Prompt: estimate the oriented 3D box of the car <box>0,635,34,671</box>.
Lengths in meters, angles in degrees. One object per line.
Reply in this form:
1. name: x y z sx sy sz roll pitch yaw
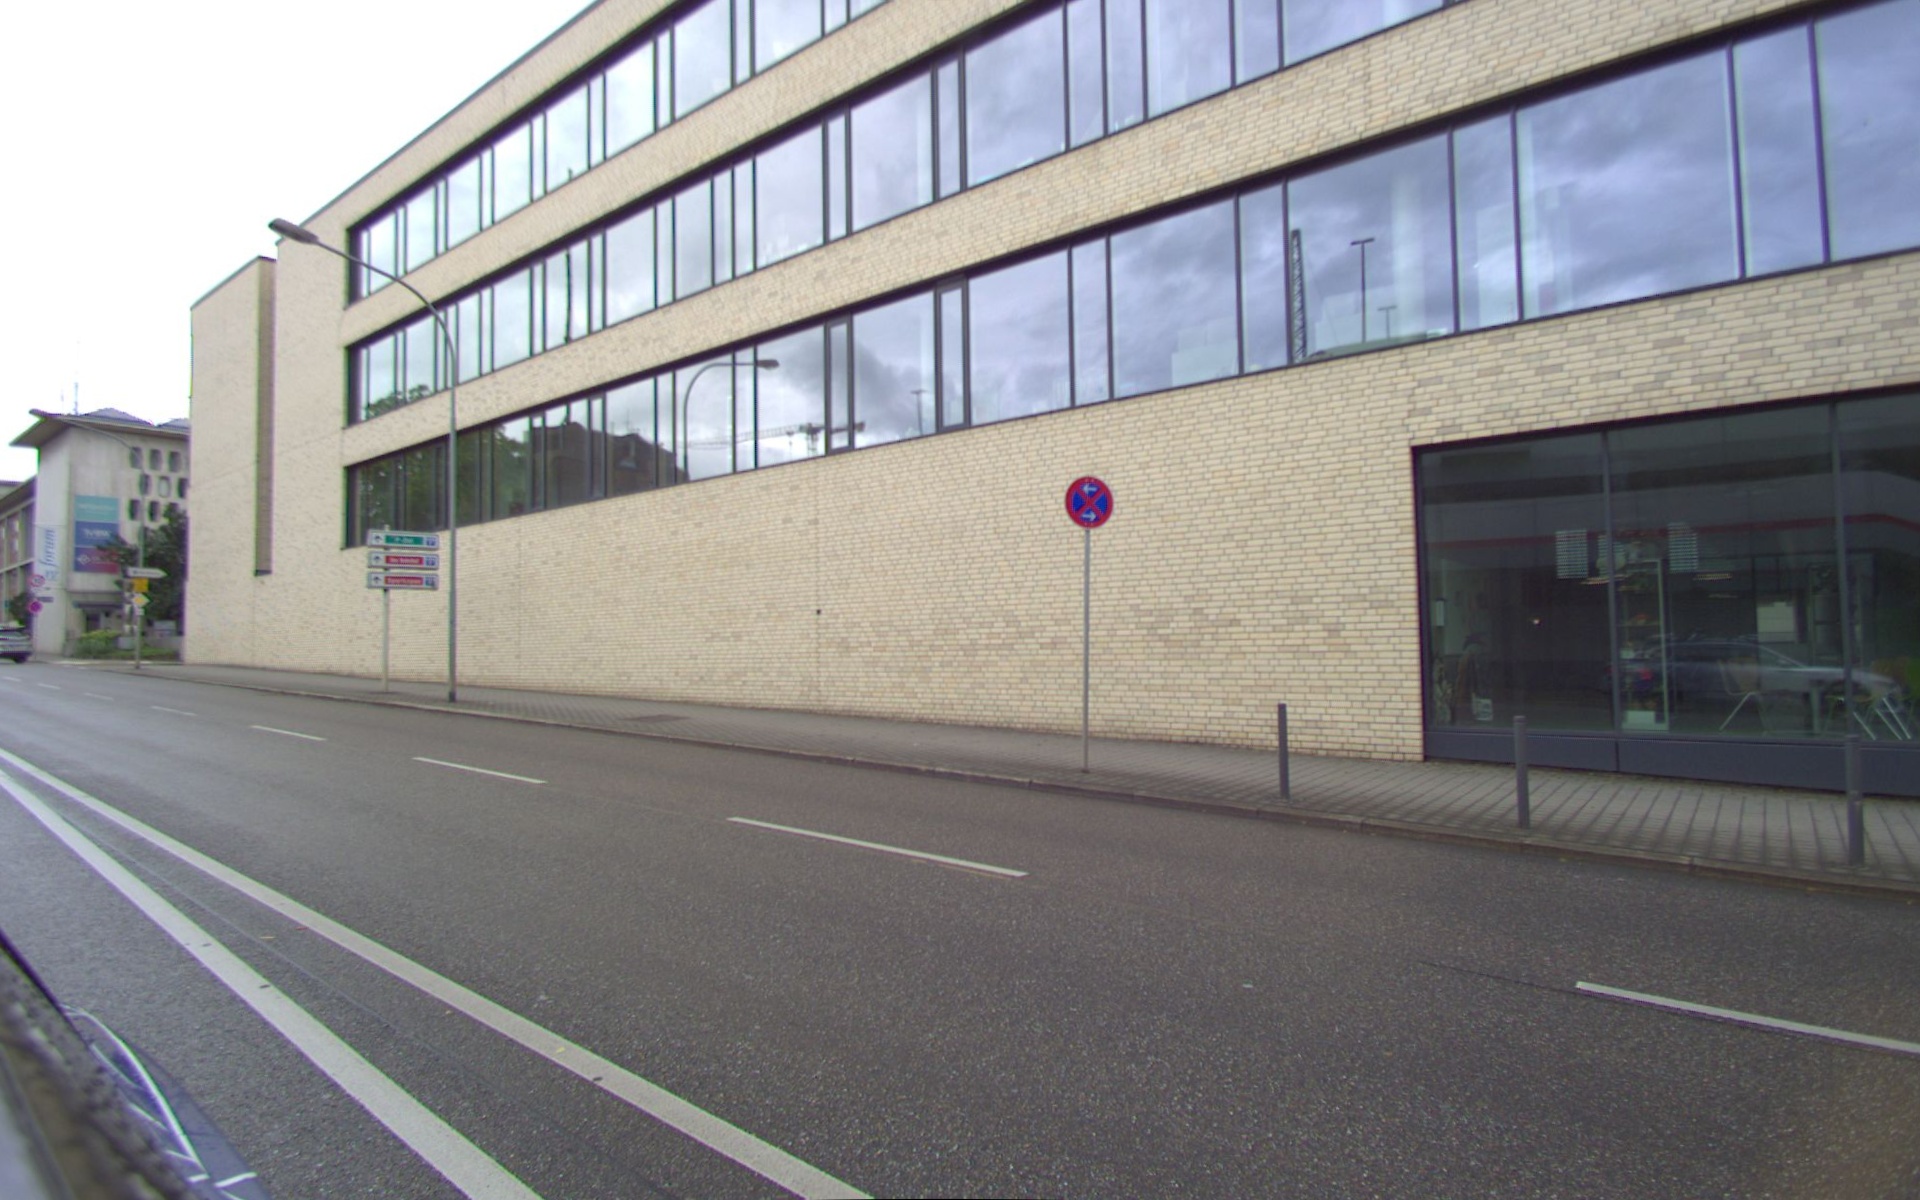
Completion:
1. car: -43.903 2.388 44.993 4.004 1.537 1.799 -2 -1 5
